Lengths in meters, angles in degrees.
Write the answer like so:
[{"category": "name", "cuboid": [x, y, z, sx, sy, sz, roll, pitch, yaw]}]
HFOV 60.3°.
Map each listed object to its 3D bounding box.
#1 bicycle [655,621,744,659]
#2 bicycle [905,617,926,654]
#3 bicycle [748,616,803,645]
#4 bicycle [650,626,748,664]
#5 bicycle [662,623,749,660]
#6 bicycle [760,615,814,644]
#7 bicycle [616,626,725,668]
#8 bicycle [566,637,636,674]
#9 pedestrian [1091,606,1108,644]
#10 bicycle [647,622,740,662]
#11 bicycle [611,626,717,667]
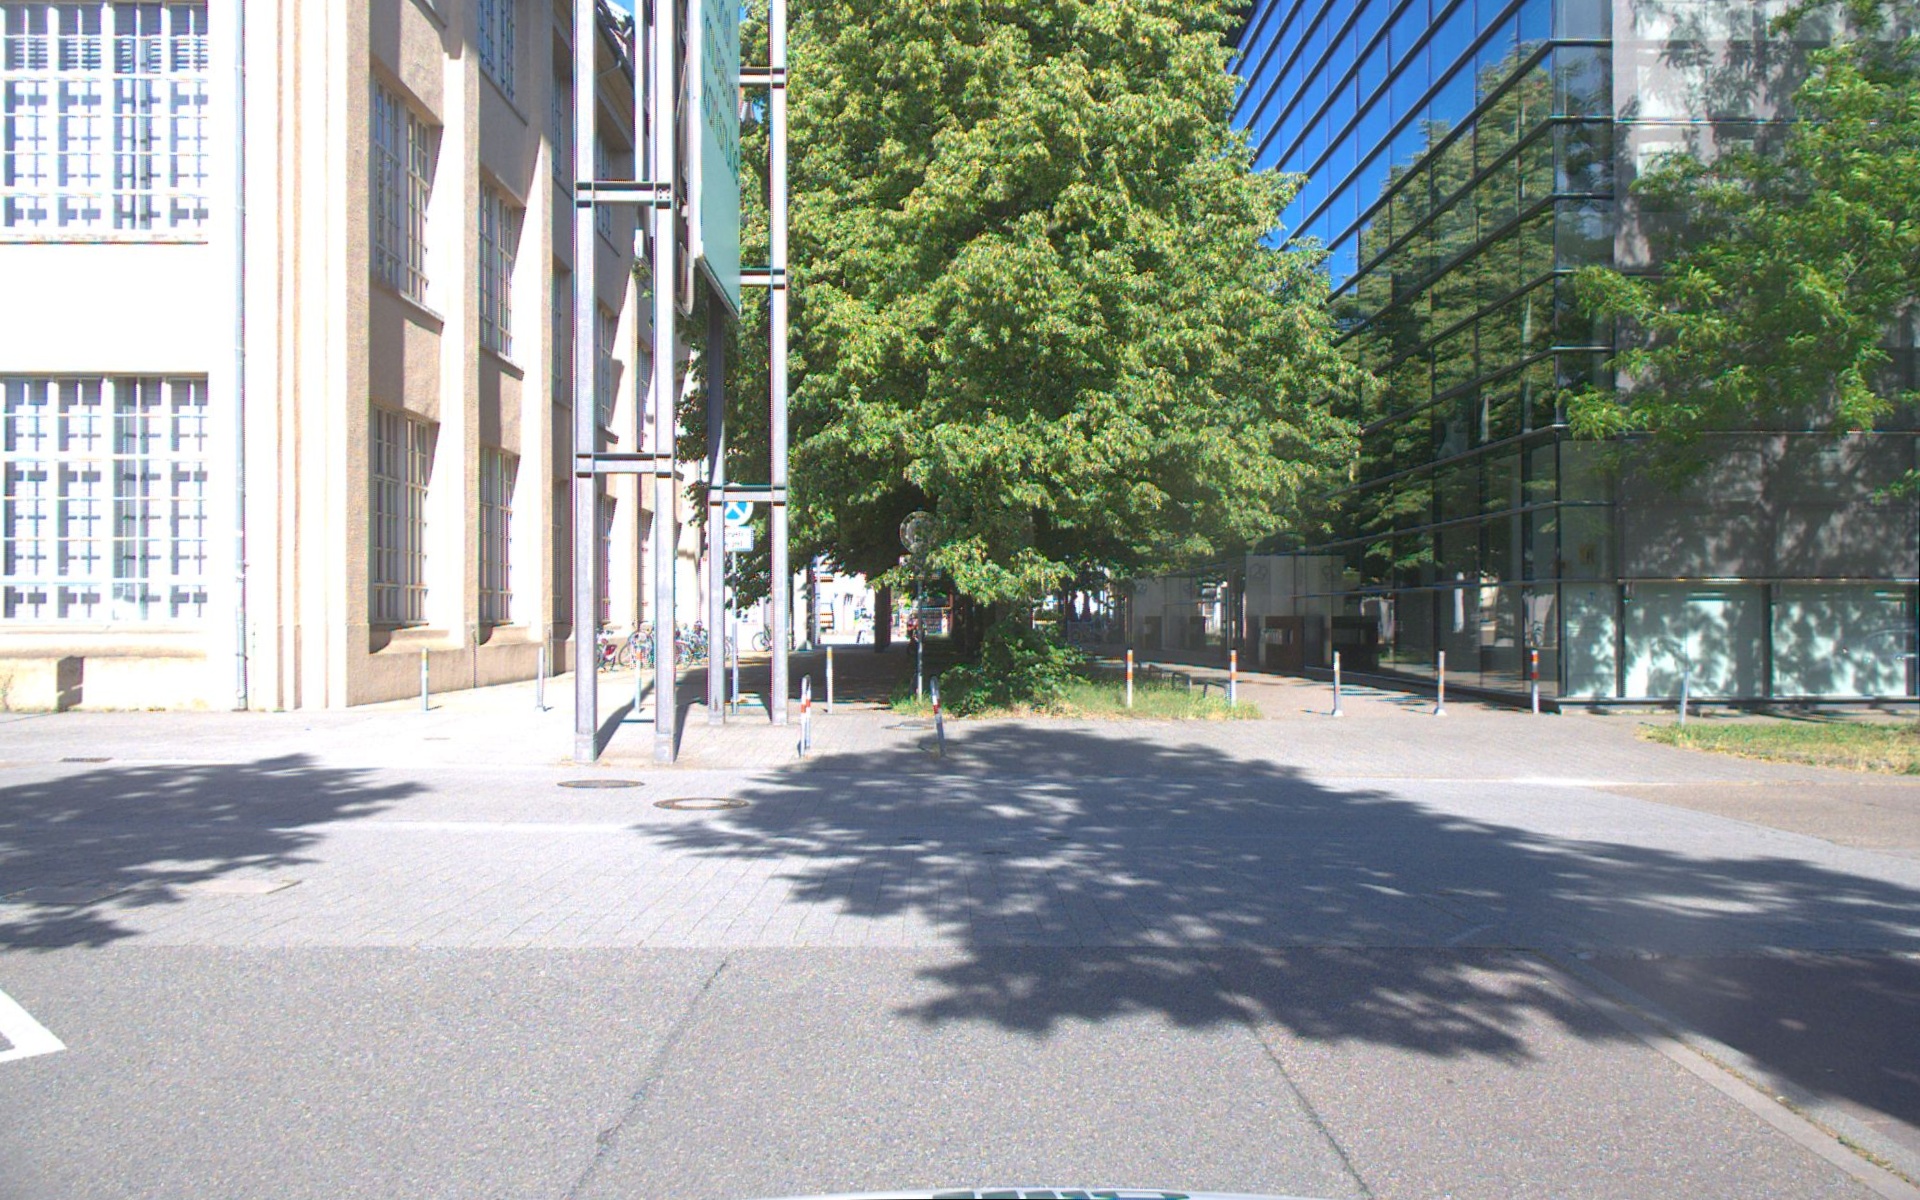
[{"category": "bicycle", "cuboid": [-8.120, 1.246, 51.661, 2.678, 1.171, 0.718, 0, 0, -6]}, {"category": "bicycle", "cuboid": [-1.548, 1.221, 57.290, 0.607, 1.218, 2.129, 0, 0, -6]}, {"category": "bicycle", "cuboid": [-7.027, 1.170, 63.084, 2.015, 1.085, 0.506, 0, 0, 1]}, {"category": "bicycle", "cuboid": [-7.551, 1.299, 47.917, 2.746, 1.081, 0.718, 0, 0, -6]}, {"category": "bicycle", "cuboid": [-8.047, 1.314, 52.451, 2.678, 1.171, 0.718, 0, 0, -6]}, {"category": "bicycle", "cuboid": [-6.674, 1.145, 63.743, 2.015, 1.085, 0.506, 0, 0, 1]}, {"category": "bicycle", "cuboid": [-7.576, 1.231, 43.361, 2.746, 1.081, 0.718, 0, 0, -6]}, {"category": "bicycle", "cuboid": [-8.717, 1.326, 40.272, 0.761, 0.806, 2.886, 0, 0, 7]}, {"category": "pedestrian", "cuboid": [5.852, 1.045, 69.355, 0.701, 1.577, 0.690, 0, 0, 5]}, {"category": "bicycle", "cuboid": [-8.066, 1.262, 50.152, 2.746, 1.171, 0.718, 0, 0, -6]}, {"category": "bicycle", "cuboid": [-8.041, 1.267, 44.964, 2.743, 1.081, 0.718, 0, 0, -1]}]
